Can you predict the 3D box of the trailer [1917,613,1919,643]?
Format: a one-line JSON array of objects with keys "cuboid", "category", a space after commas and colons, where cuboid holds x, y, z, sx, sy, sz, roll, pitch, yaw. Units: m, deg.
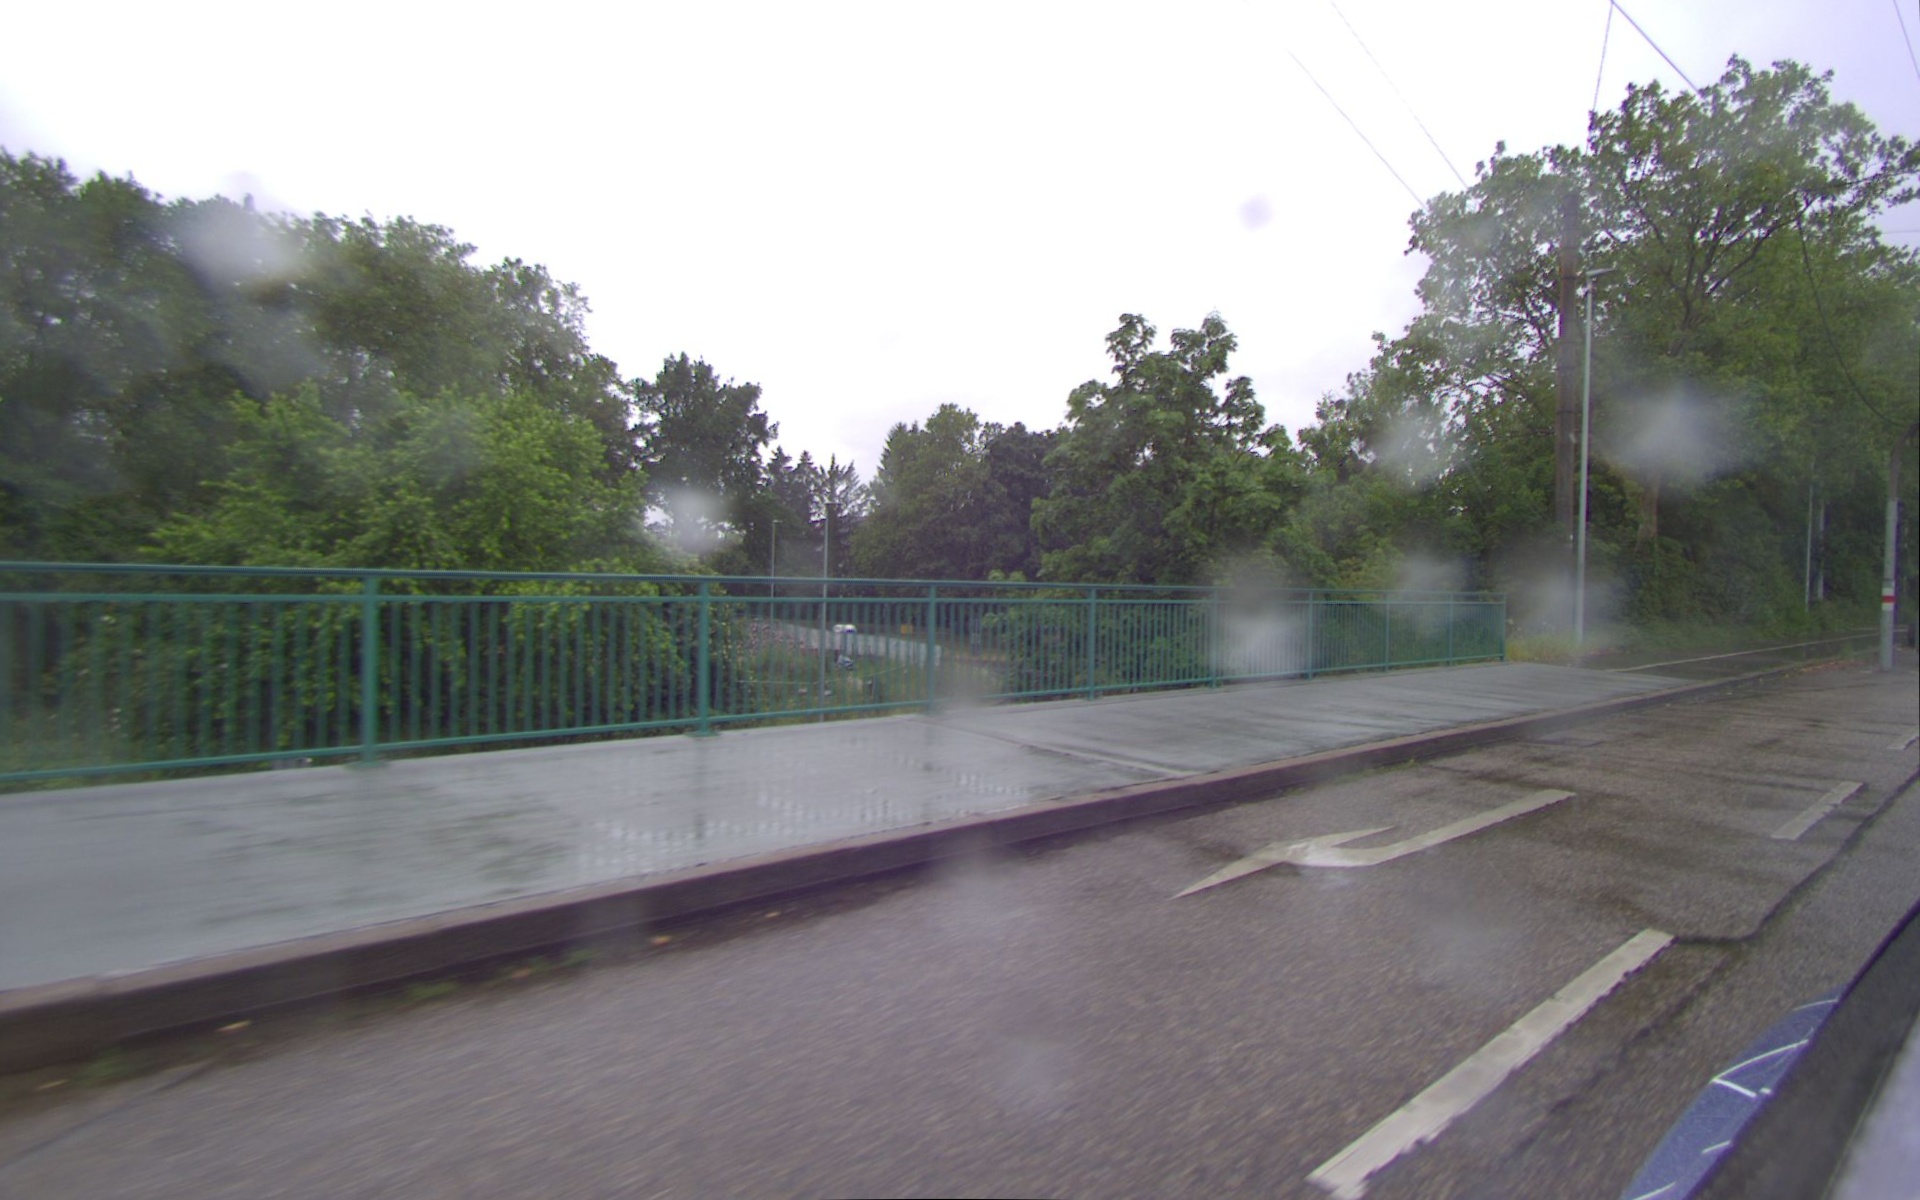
[{"cuboid": [32.462, 0.911, 32.975, 3.218, 0.949, 1.545, 1, -1, -41], "category": "trailer"}]
